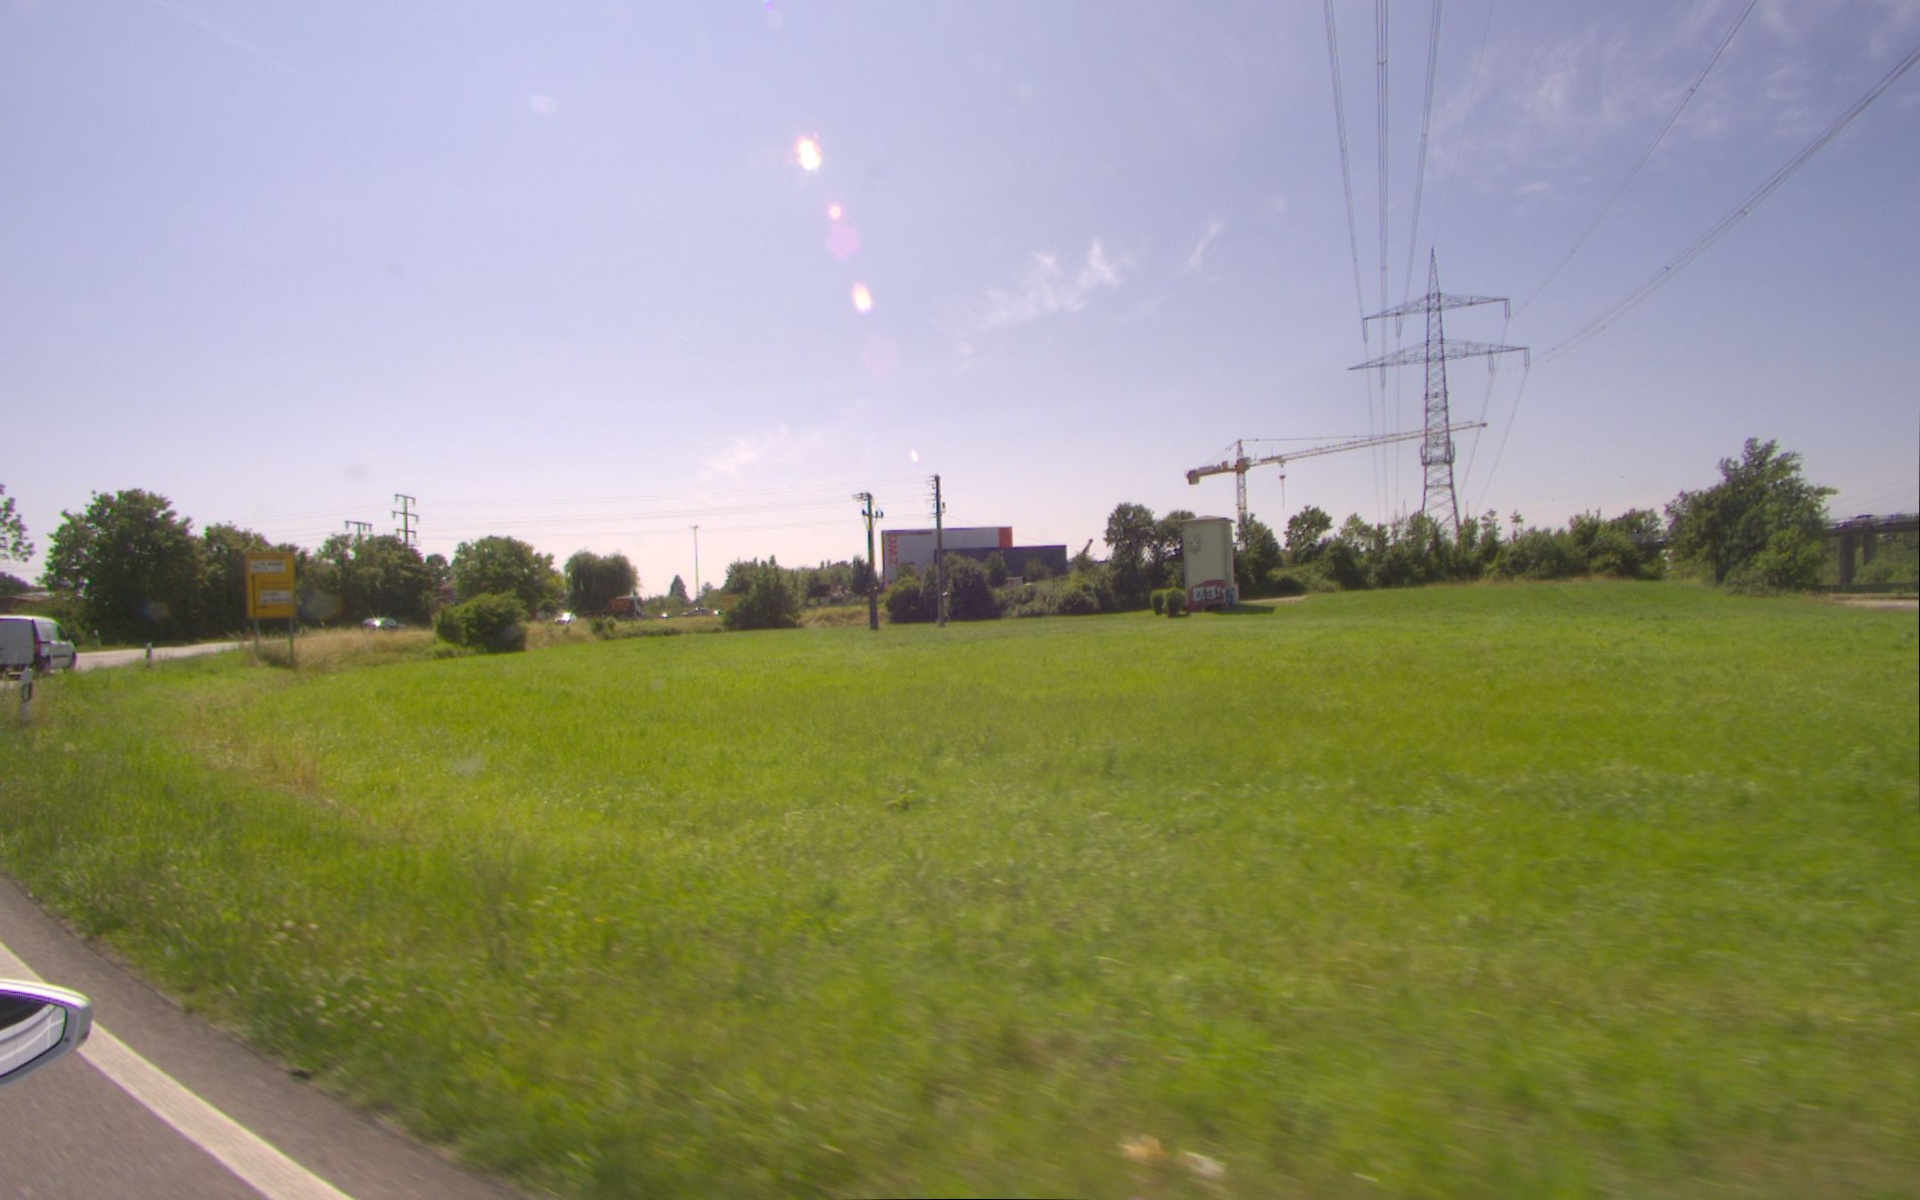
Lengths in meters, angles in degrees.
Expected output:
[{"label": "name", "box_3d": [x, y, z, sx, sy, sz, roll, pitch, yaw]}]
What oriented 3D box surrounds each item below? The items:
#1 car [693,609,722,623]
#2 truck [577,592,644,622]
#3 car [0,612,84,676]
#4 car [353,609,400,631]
[{"label": "car", "box_3d": [-37.896, 2.370, 150.507, 3.923, 2.039, 2.001, 0, -2, -5]}, {"label": "truck", "box_3d": [-40.536, 0.869, 116.475, 3.051, 3.176, 8.799, -1, -2, 14]}, {"label": "car", "box_3d": [-27.592, 1.287, 29.594, 1.883, 1.755, 3.802, -1, -1, -31]}, {"label": "car", "box_3d": [-41.830, 1.441, 71.849, 1.692, 1.438, 3.743, -2, -1, -10]}]
